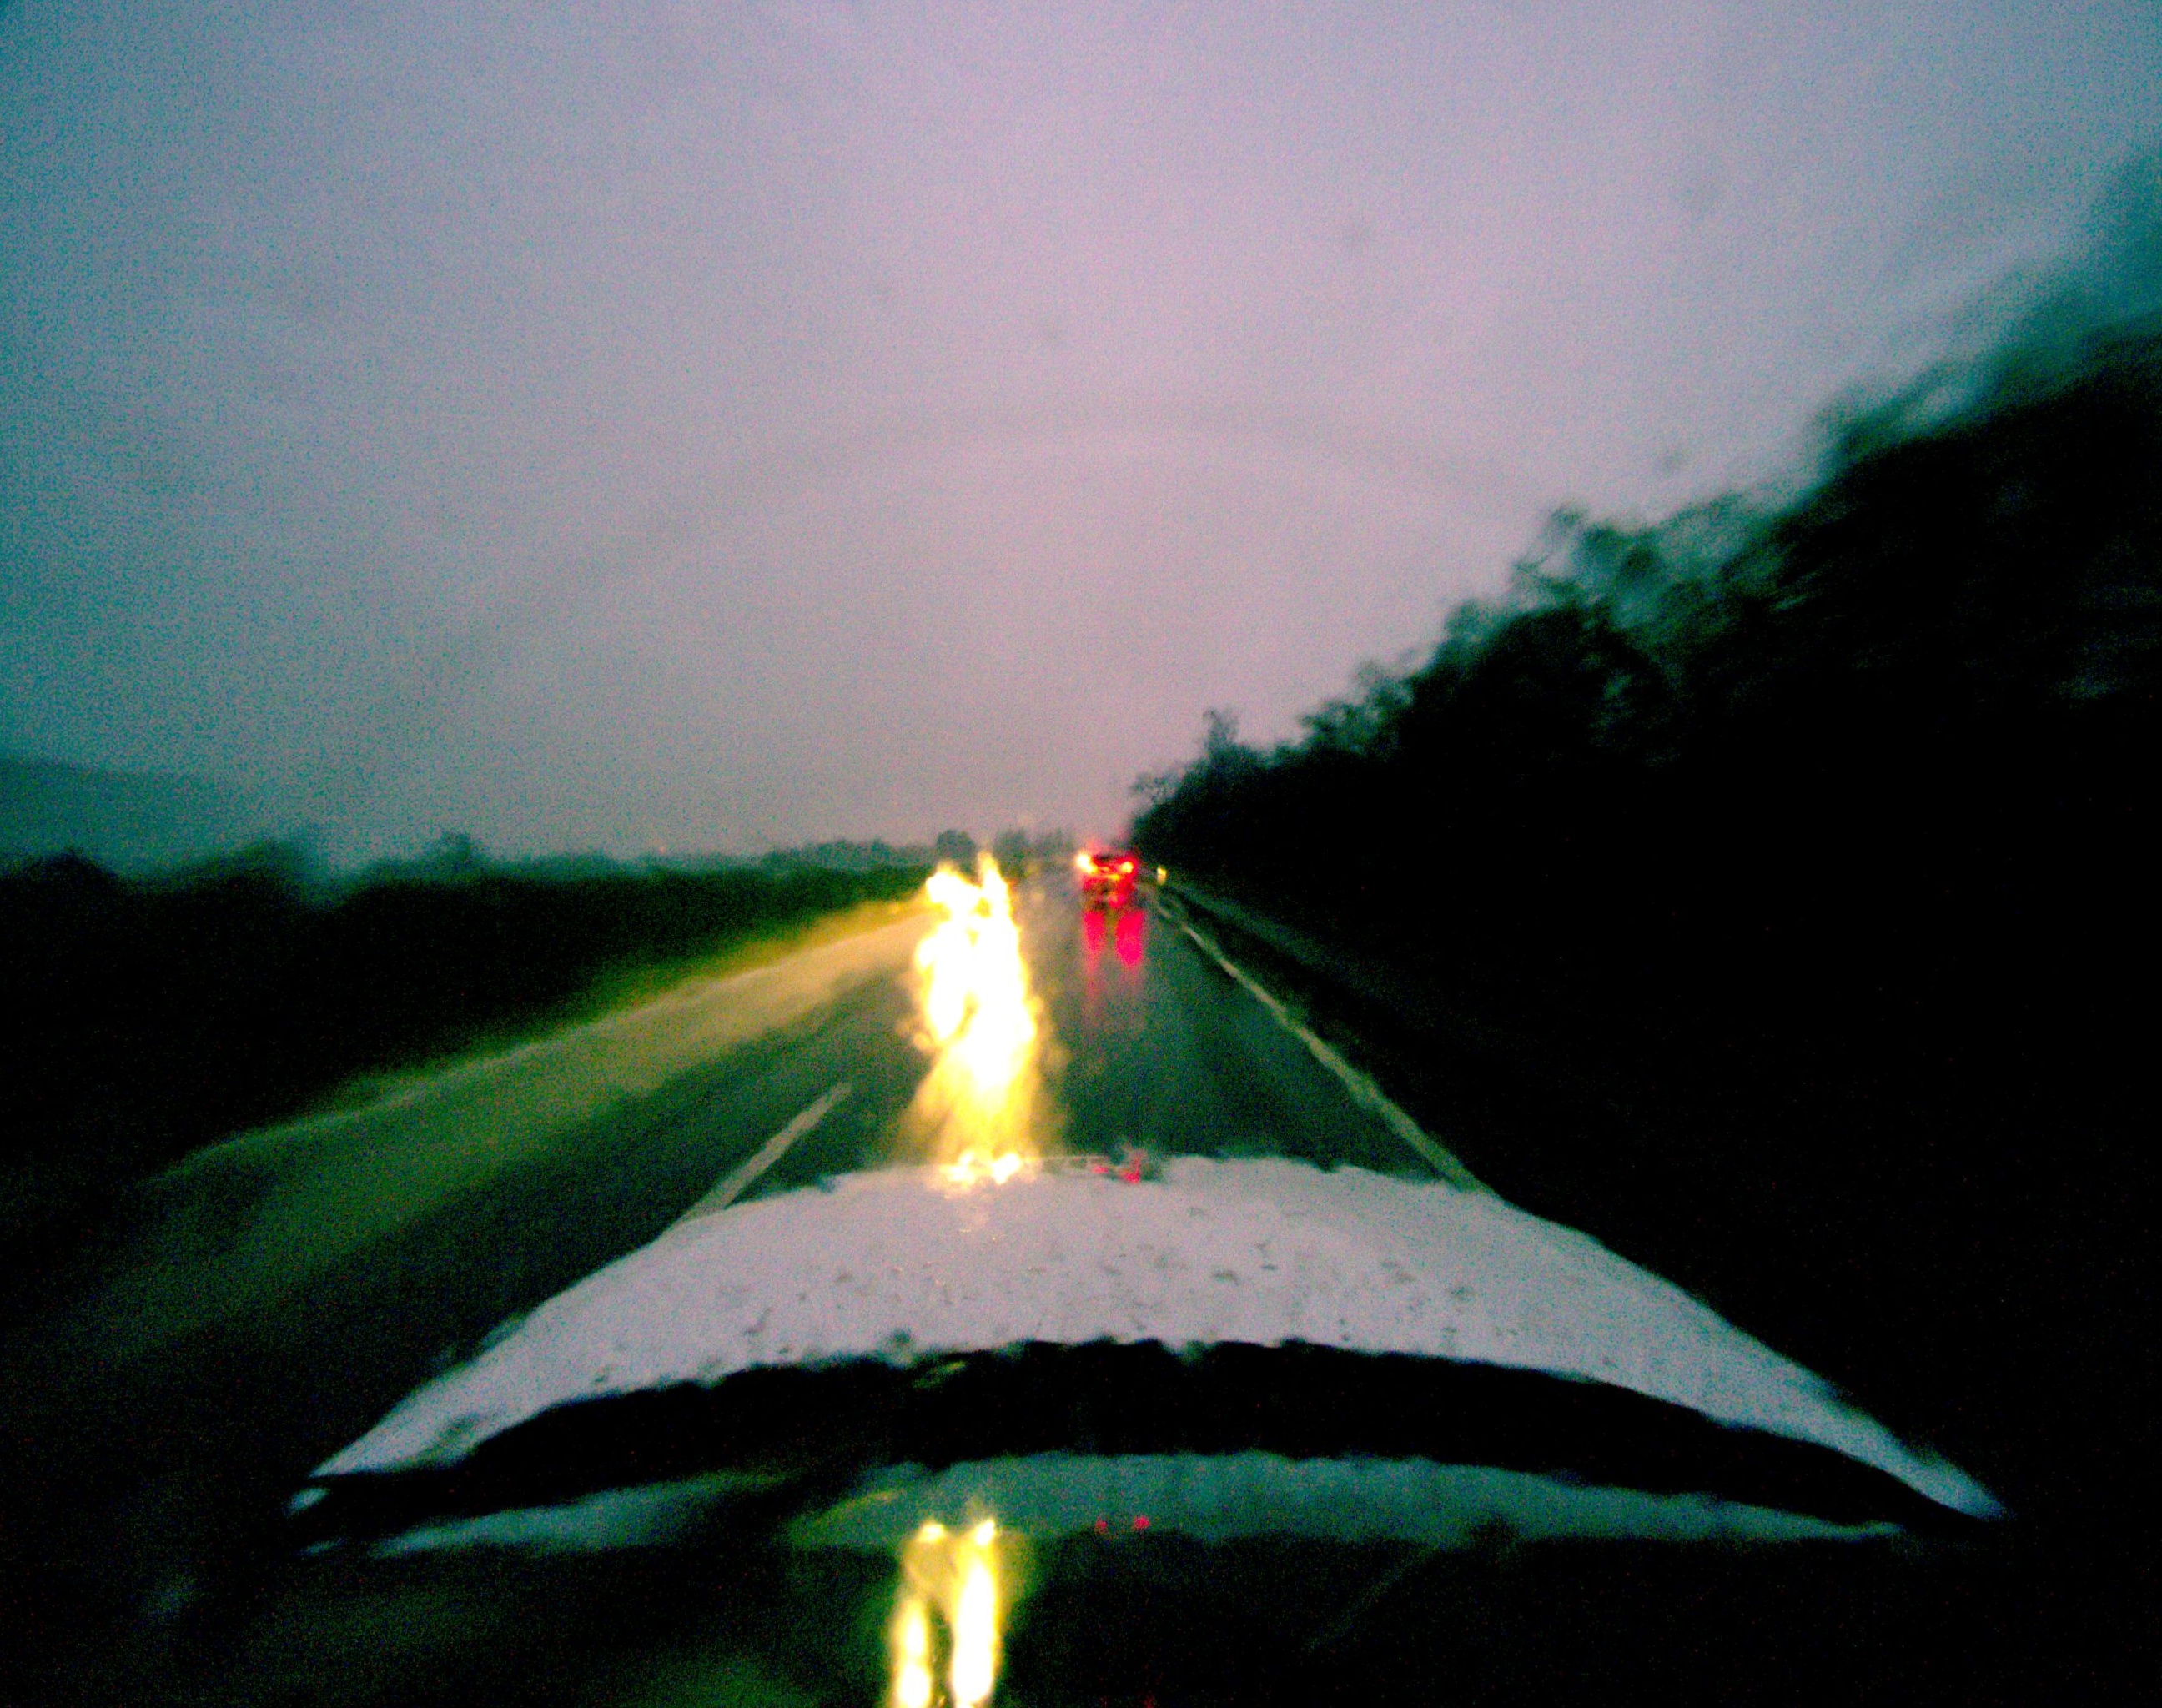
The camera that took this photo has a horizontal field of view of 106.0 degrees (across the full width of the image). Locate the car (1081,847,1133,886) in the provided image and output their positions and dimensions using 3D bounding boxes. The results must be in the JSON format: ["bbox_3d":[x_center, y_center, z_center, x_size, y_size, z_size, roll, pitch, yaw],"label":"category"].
[{"bbox_3d":[1.512,0.664,47.609,2.746,2.035,6.593,-2,0,2],"label":"car"}]

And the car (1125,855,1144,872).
[{"bbox_3d":[5.853,1.029,89.755,1.921,1.750,4.001,0,-1,1],"label":"car"}]

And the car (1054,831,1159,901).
[{"bbox_3d":[0.879,0.367,28.340,3.153,2.035,6.854,-2,0,2],"label":"car"}]

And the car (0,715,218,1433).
[{"bbox_3d":[-3.901,0.626,0.161,1.986,1.870,4.954,-4,0,2],"label":"car"}]

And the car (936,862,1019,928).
[{"bbox_3d":[-2.980,1.138,24.288,1.722,1.646,4.263,-4,0,2],"label":"car"}]
